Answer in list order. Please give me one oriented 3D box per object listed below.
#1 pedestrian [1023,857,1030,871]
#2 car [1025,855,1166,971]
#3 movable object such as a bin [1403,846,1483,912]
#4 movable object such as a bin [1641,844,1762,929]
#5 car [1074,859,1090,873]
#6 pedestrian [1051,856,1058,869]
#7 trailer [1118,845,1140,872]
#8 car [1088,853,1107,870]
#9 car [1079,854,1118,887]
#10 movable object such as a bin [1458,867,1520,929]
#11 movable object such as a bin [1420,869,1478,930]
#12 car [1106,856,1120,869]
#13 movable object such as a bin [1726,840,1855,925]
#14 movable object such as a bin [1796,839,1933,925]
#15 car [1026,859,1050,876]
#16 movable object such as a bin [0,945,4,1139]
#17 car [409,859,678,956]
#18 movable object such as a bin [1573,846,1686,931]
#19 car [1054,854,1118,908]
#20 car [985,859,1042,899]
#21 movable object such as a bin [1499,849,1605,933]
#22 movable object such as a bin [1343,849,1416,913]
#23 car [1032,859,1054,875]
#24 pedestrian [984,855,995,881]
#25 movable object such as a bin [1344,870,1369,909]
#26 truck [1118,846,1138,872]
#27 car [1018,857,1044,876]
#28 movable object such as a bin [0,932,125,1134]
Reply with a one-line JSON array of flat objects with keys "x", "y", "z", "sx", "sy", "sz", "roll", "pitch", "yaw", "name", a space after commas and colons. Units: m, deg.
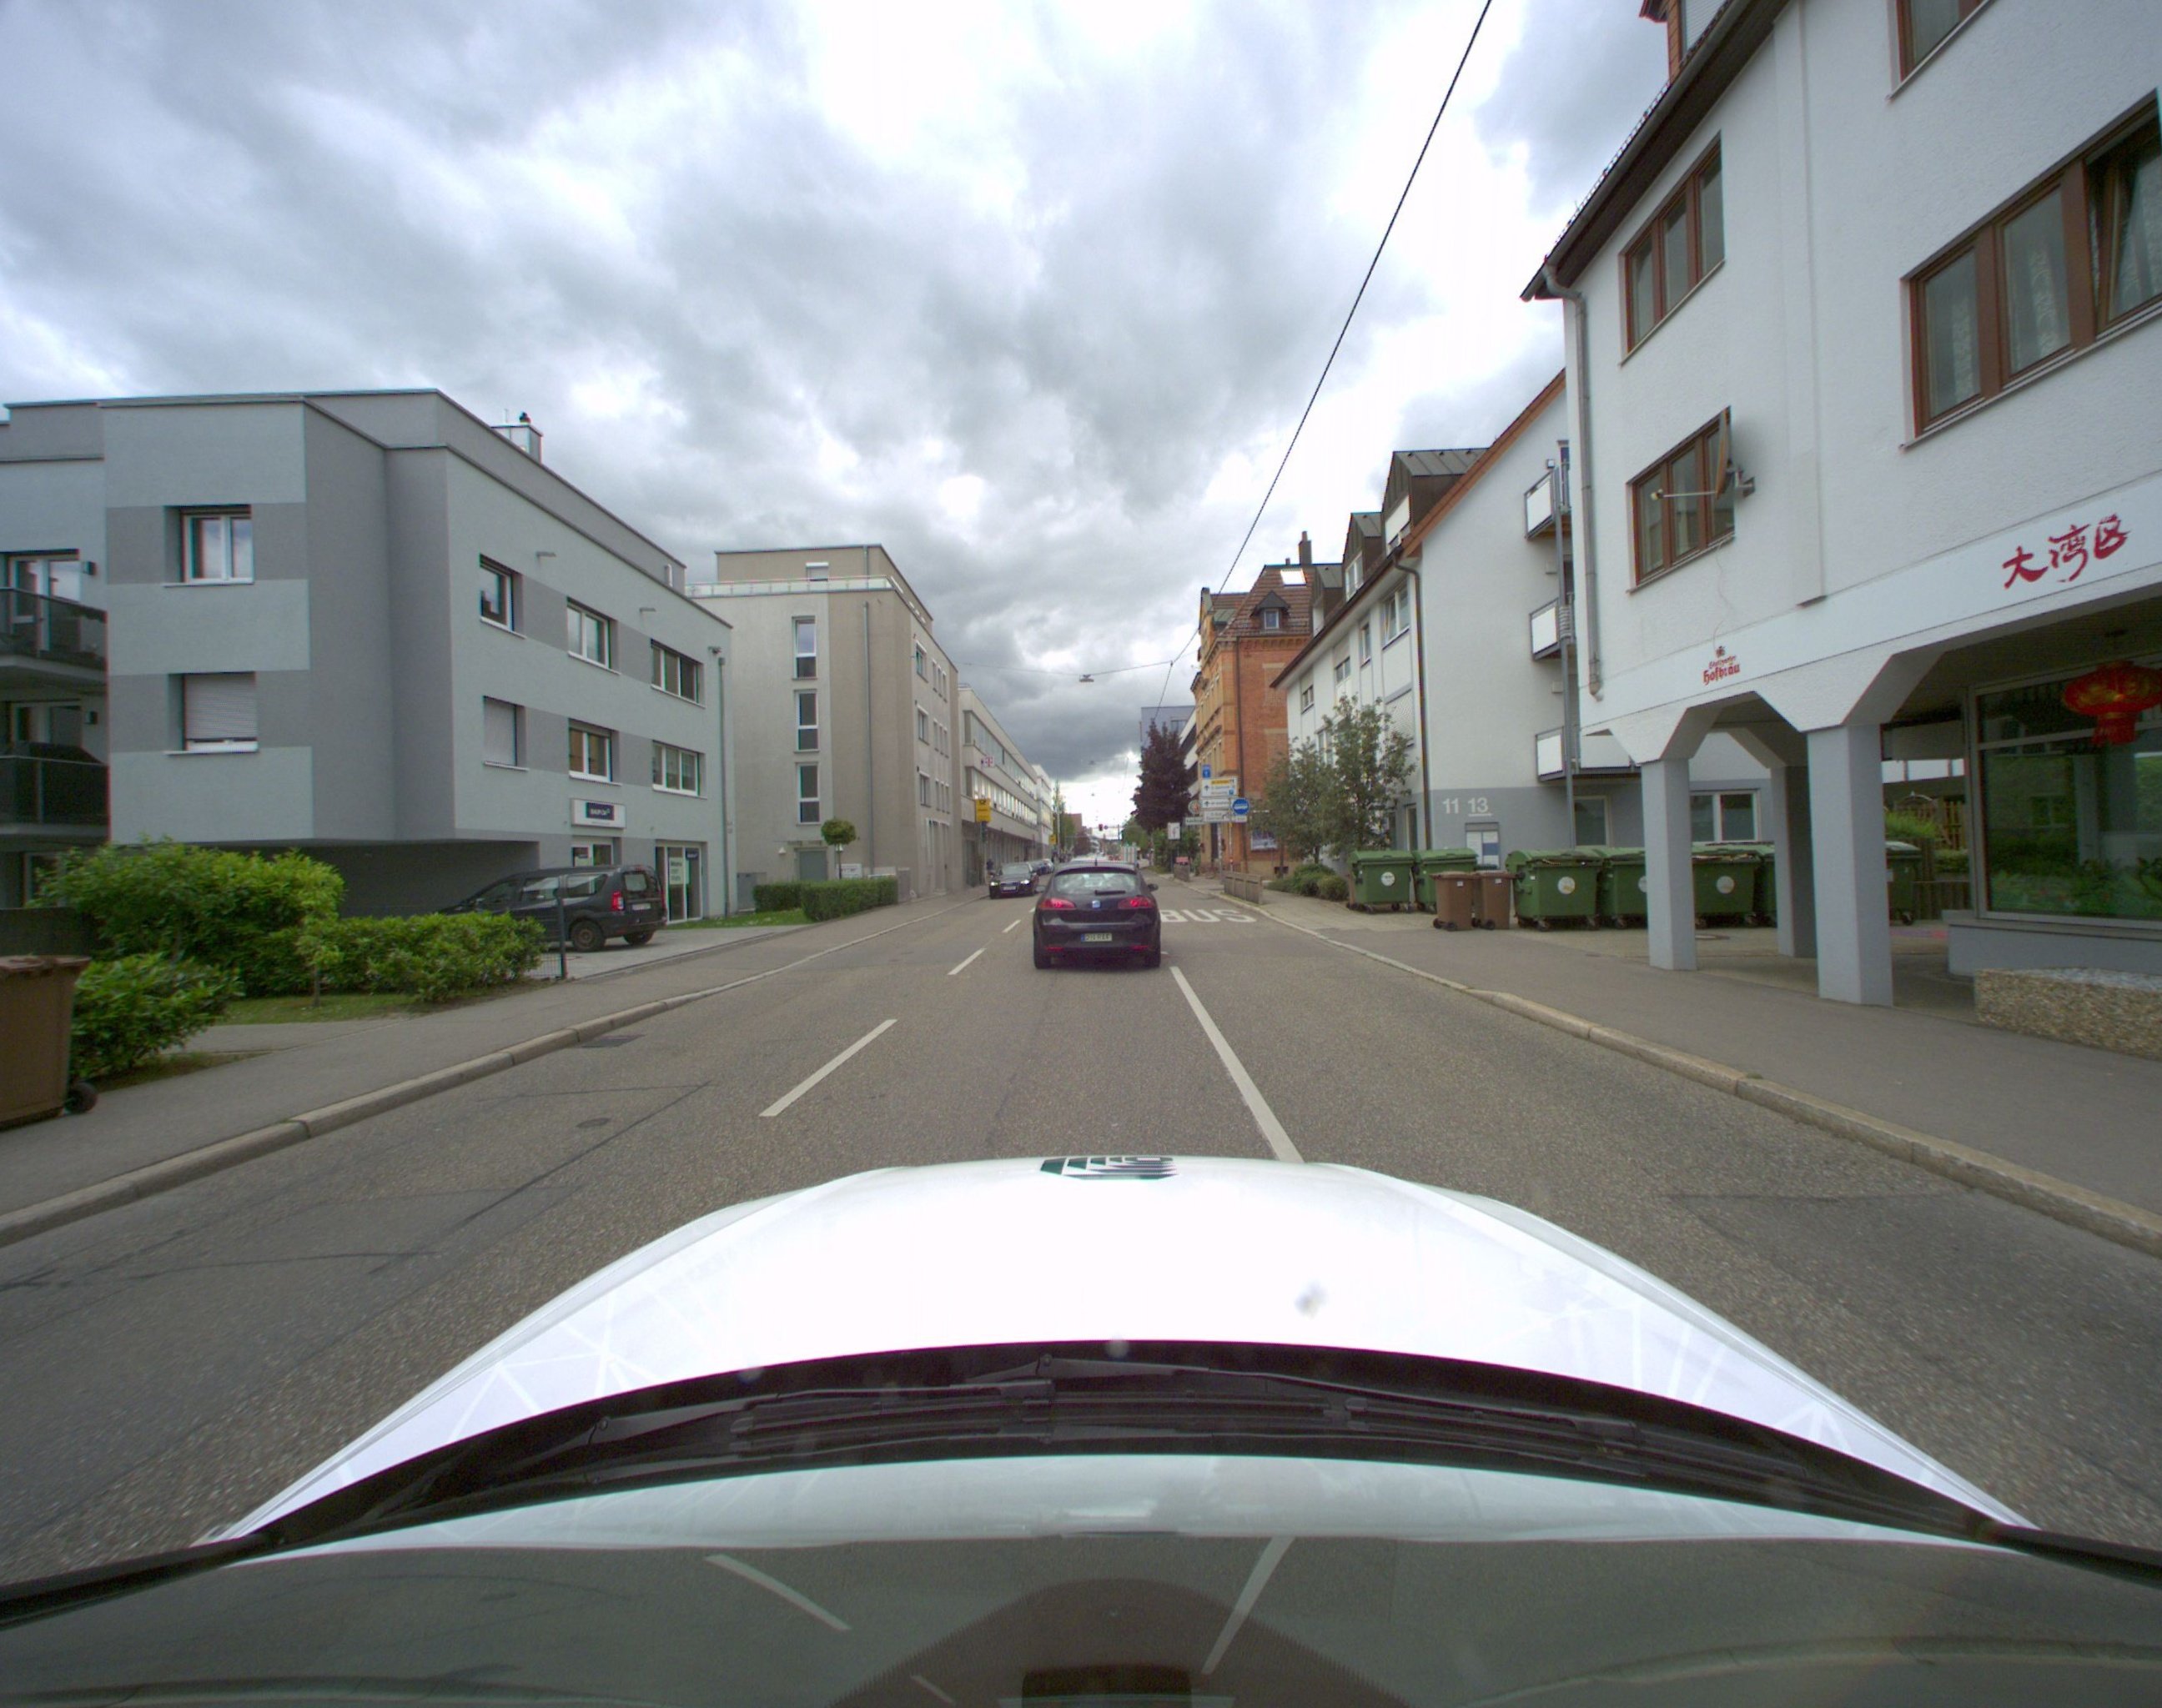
[{"x": -6.550, "y": 1.219, "z": 98.000, "sx": 0.653, "sy": 1.623, "sz": 0.681, "roll": -2, "pitch": -1, "yaw": 2, "name": "pedestrian"}, {"x": 0.246, "y": 0.764, "z": 12.323, "sx": 1.759, "sy": 1.433, "sz": 3.830, "roll": -2, "pitch": 0, "yaw": 2, "name": "car"}, {"x": 8.281, "y": 0.560, "z": 18.705, "sx": 1.262, "sy": 1.435, "sz": 1.308, "roll": -2, "pitch": 0, "yaw": 2, "name": "movable object such as a bin"}, {"x": 11.059, "y": 0.562, "z": 14.580, "sx": 1.203, "sy": 1.417, "sz": 1.261, "roll": -2, "pitch": 0, "yaw": 5, "name": "movable object such as a bin"}, {"x": 0.127, "y": 1.680, "z": 111.338, "sx": 1.986, "sy": 1.738, "sz": 4.554, "roll": -3, "pitch": 0, "yaw": 1, "name": "car"}, {"x": -3.923, "y": 1.225, "z": 121.026, "sx": 0.915, "sy": 1.869, "sz": 0.783, "roll": -1, "pitch": 0, "yaw": 1, "name": "pedestrian"}, {"x": 4.878, "y": 0.498, "z": 83.304, "sx": 1.986, "sy": 2.607, "sz": 5.350, "roll": -2, "pitch": 0, "yaw": 1, "name": "trailer"}, {"x": 1.680, "y": 0.770, "z": 81.849, "sx": 1.797, "sy": 1.601, "sz": 3.738, "roll": -1, "pitch": 0, "yaw": 1, "name": "car"}, {"x": 0.878, "y": 0.791, "z": 40.620, "sx": 1.797, "sy": 1.553, "sz": 3.738, "roll": -2, "pitch": 0, "yaw": 1, "name": "car"}, {"x": 7.520, "y": 0.790, "z": 15.049, "sx": 0.694, "sy": 1.079, "sz": 0.973, "roll": -2, "pitch": 0, "yaw": 5, "name": "movable object such as a bin"}, {"x": 6.795, "y": 0.822, "z": 15.091, "sx": 0.680, "sy": 1.067, "sz": 0.973, "roll": -2, "pitch": 0, "yaw": 5, "name": "movable object such as a bin"}, {"x": 4.201, "y": 1.129, "z": 108.309, "sx": 1.797, "sy": 1.601, "sz": 3.738, "roll": -1, "pitch": 0, "yaw": 1, "name": "car"}, {"x": 12.585, "y": 0.496, "z": 14.514, "sx": 1.203, "sy": 1.417, "sz": 1.261, "roll": -2, "pitch": 0, "yaw": 5, "name": "movable object such as a bin"}, {"x": 13.825, "y": 0.479, "z": 14.423, "sx": 1.203, "sy": 1.417, "sz": 1.261, "roll": -2, "pitch": 0, "yaw": 5, "name": "movable object such as a bin"}, {"x": -4.053, "y": 1.275, "z": 77.591, "sx": 1.986, "sy": 1.517, "sz": 4.175, "roll": -2, "pitch": 0, "yaw": 1, "name": "car"}, {"x": -6.892, "y": 1.129, "z": 4.455, "sx": 0.946, "sy": 1.151, "sz": 0.748, "roll": -2, "pitch": 0, "yaw": -3, "name": "movable object such as a bin"}, {"x": -10.390, "y": 1.004, "z": 15.904, "sx": 4.143, "sy": 1.667, "sz": 1.727, "roll": -2, "pitch": -1, "yaw": 5, "name": "car"}, {"x": 9.808, "y": 0.596, "z": 14.635, "sx": 1.203, "sy": 1.417, "sz": 1.261, "roll": -2, "pitch": 0, "yaw": 5, "name": "movable object such as a bin"}, {"x": 0.183, "y": 0.795, "z": 25.380, "sx": 1.797, "sy": 1.492, "sz": 3.738, "roll": -2, "pitch": 0, "yaw": 1, "name": "car"}, {"x": -2.771, "y": 1.017, "z": 34.461, "sx": 1.872, "sy": 1.451, "sz": 4.215, "roll": -4, "pitch": 0, "yaw": 1, "name": "car"}, {"x": 8.451, "y": 0.636, "z": 14.681, "sx": 1.203, "sy": 1.417, "sz": 1.261, "roll": -2, "pitch": 0, "yaw": 5, "name": "movable object such as a bin"}, {"x": 6.943, "y": 0.614, "z": 19.013, "sx": 1.262, "sy": 1.417, "sz": 1.163, "roll": -2, "pitch": 0, "yaw": 2, "name": "movable object such as a bin"}, {"x": -3.846, "y": 1.284, "z": 83.296, "sx": 1.986, "sy": 1.517, "sz": 4.175, "roll": -2, "pitch": 0, "yaw": 1, "name": "car"}, {"x": -6.306, "y": 0.969, "z": 56.277, "sx": 0.640, "sy": 1.769, "sz": 0.809, "roll": -2, "pitch": 0, "yaw": -1, "name": "pedestrian"}, {"x": 6.712, "y": 0.857, "z": 19.831, "sx": 0.428, "sy": 0.921, "sz": 0.465, "roll": -2, "pitch": 0, "yaw": 2, "name": "movable object such as a bin"}, {"x": 4.934, "y": 0.502, "z": 86.121, "sx": 1.986, "sy": 2.607, "sz": 3.261, "roll": -2, "pitch": 0, "yaw": 1, "name": "truck"}, {"x": -4.391, "y": 1.056, "z": 71.638, "sx": 1.906, "sy": 1.517, "sz": 4.175, "roll": -3, "pitch": 0, "yaw": 1, "name": "car"}, {"x": -6.906, "y": 1.114, "z": 5.153, "sx": 0.938, "sy": 1.151, "sz": 0.612, "roll": -2, "pitch": 0, "yaw": -3, "name": "movable object such as a bin"}]
